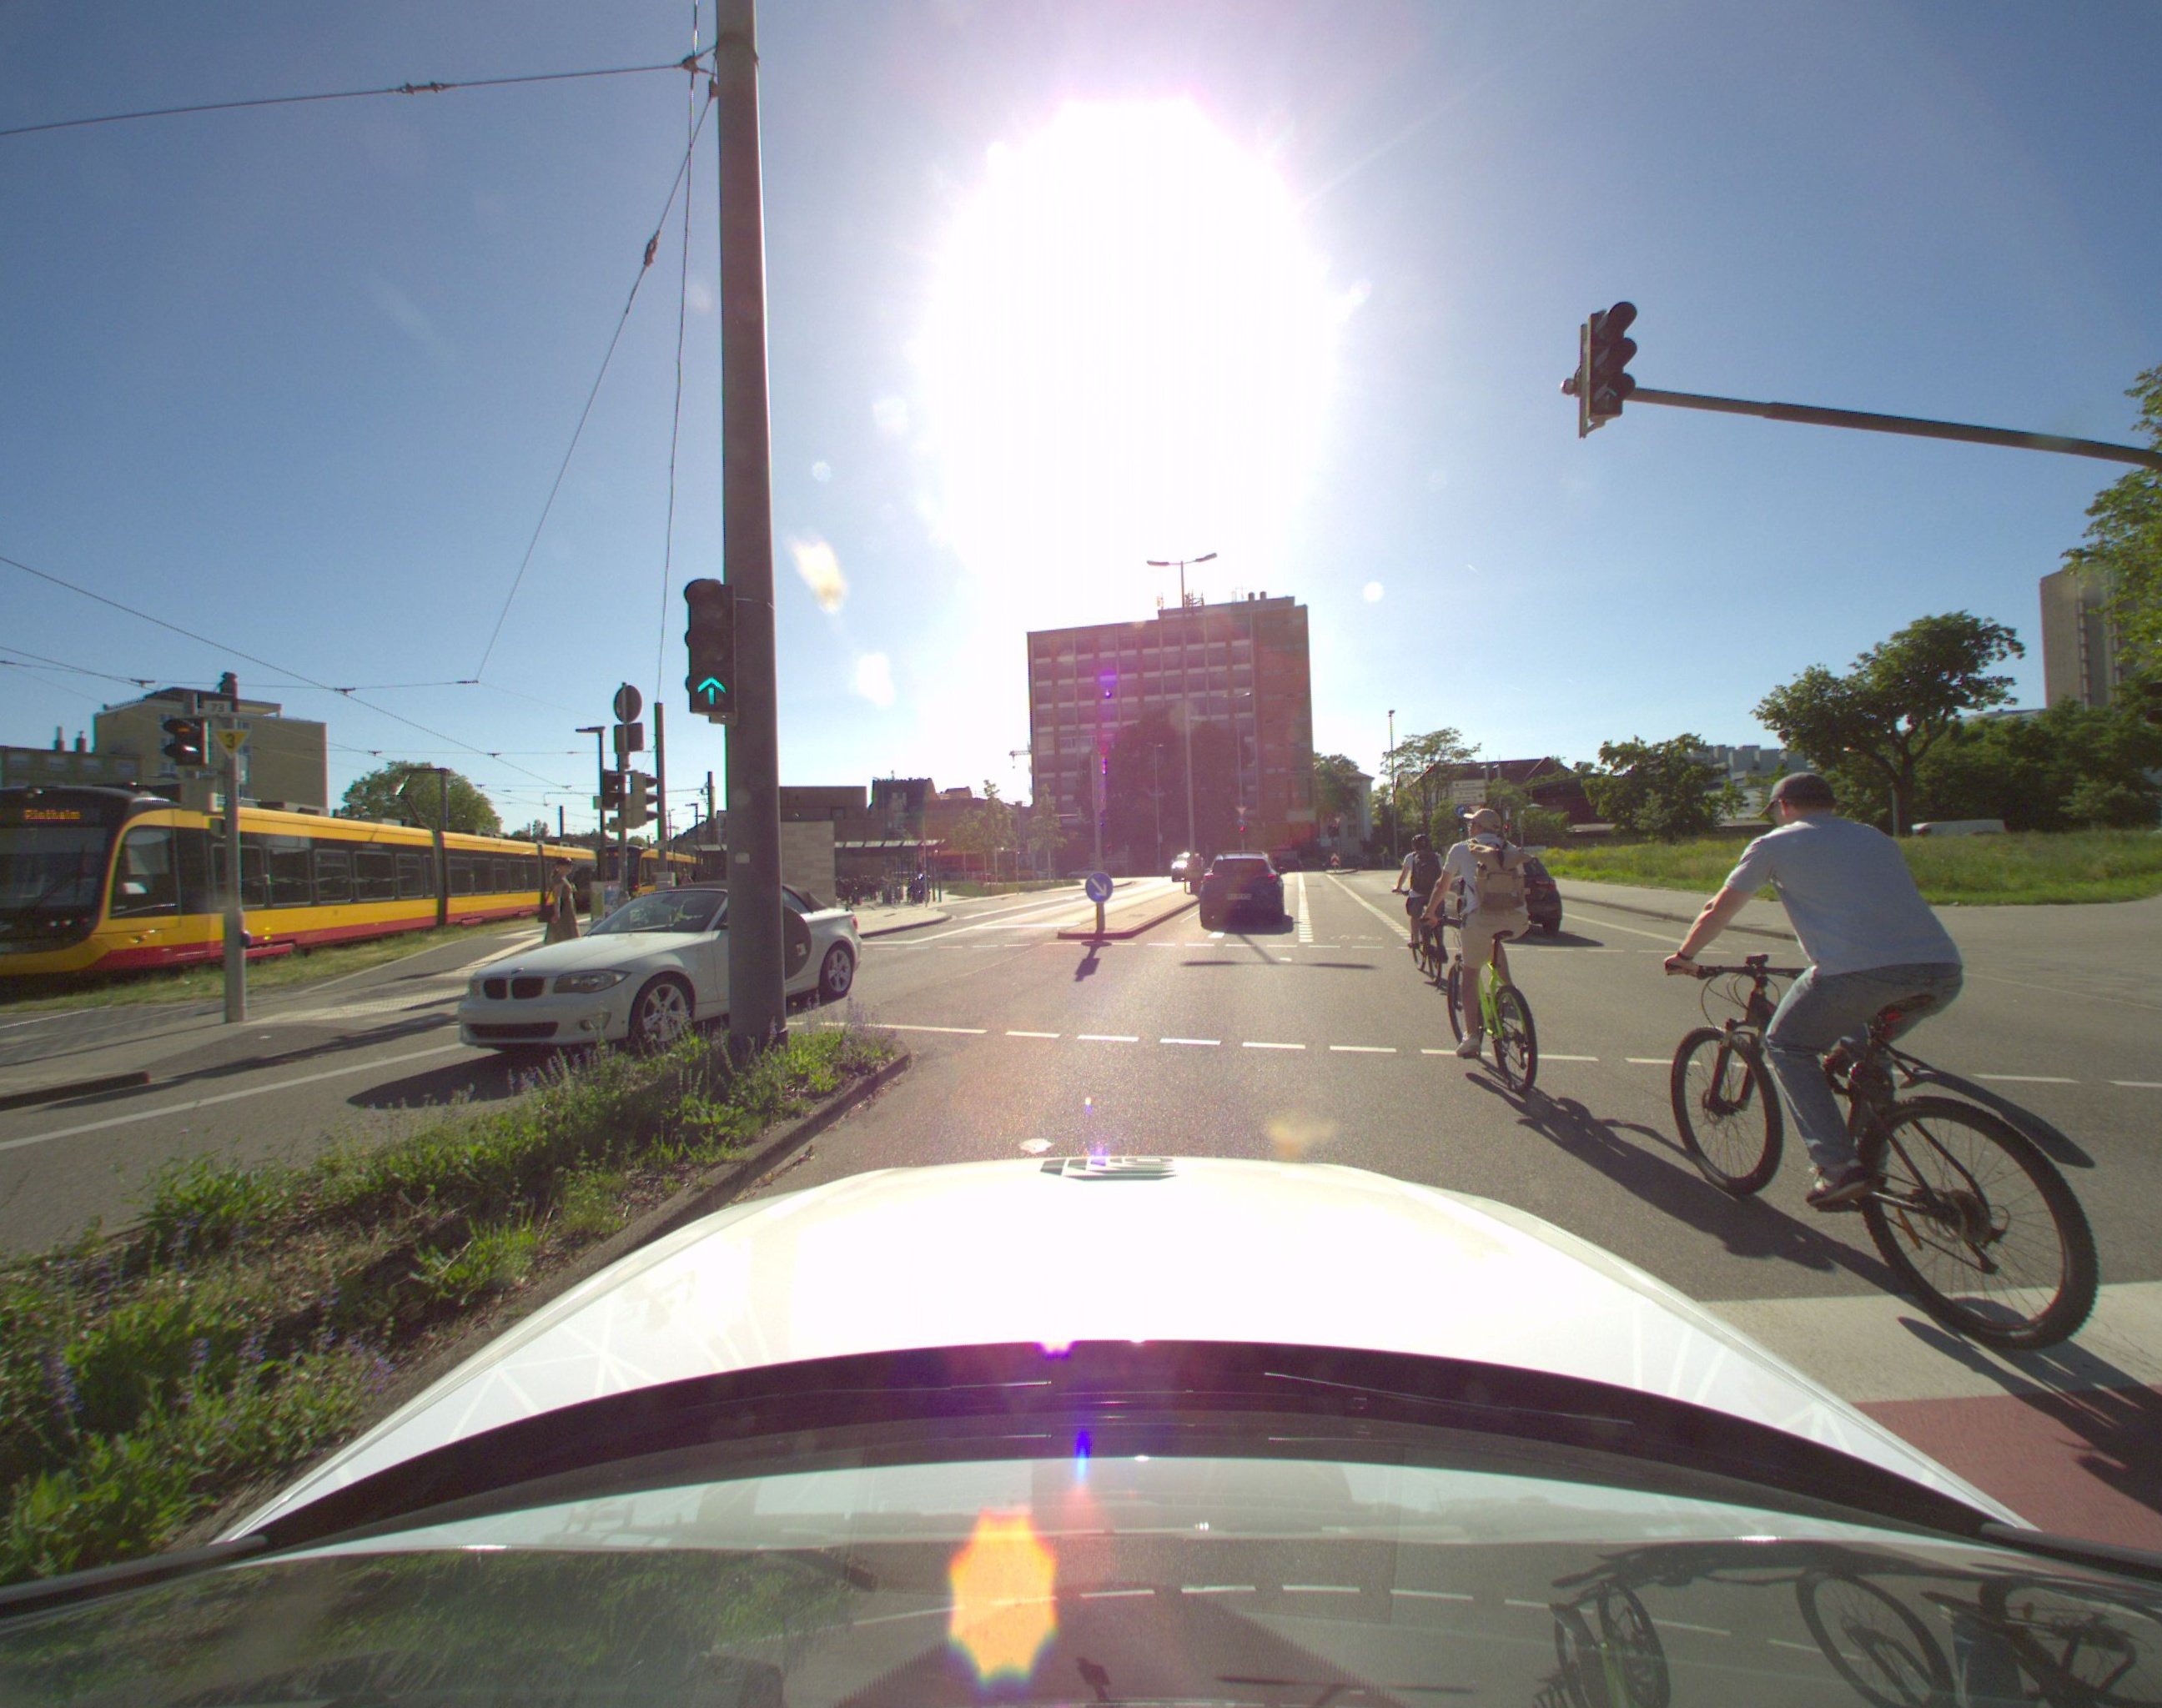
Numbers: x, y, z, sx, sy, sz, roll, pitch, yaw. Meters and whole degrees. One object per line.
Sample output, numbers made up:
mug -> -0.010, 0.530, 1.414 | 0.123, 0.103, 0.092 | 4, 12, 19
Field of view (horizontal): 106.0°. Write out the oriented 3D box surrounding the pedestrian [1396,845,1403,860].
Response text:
pedestrian -> 35.128, -0.142, 89.827 | 0.571, 1.670, 0.565 | -2, -2, 25

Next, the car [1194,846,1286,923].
car -> 3.797, 0.668, 19.034 | 1.809, 1.600, 3.673 | -1, -1, 15

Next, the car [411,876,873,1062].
car -> -4.004, 0.986, 8.339 | 1.787, 1.393, 4.108 | -4, -3, 15

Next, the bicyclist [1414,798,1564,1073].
bicyclist -> 2.818, 0.515, 5.718 | 0.659, 1.747, 1.008 | -1, 1, 10

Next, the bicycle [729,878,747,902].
bicycle -> -16.351, 1.705, 38.872 | 0.567, 1.093, 2.017 | 0, -2, -17

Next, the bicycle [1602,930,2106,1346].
bicycle -> 2.904, 0.933, 3.373 | 0.607, 1.077, 1.835 | -1, -1, 11

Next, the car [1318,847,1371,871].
car -> 23.784, 0.484, 73.459 | 4.332, 2.014, 2.011 | -2, -2, 24

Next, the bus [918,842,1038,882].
bus -> -9.876, 0.857, 77.111 | 12.284, 3.396, 2.900 | -2, -2, 33

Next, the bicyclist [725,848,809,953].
bicyclist -> -5.245, 0.760, 13.665 | 0.876, 1.644, 1.062 | -3, -1, 5

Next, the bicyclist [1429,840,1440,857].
bicyclist -> 35.176, -0.545, 80.982 | 0.851, 1.692, 0.888 | -2, -2, 18

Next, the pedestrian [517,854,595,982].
pedestrian -> -8.083, 0.944, 12.580 | 0.904, 1.850, 0.757 | -2, 1, -28

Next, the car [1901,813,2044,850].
car -> 66.722, -1.621, 61.099 | 7.098, 2.423, 2.083 | -2, -1, 17

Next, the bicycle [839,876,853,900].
bicycle -> -11.002, 1.596, 38.079 | 0.581, 1.088, 2.047 | 0, -2, -15

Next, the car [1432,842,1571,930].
car -> 8.222, 0.613, 16.264 | 1.743, 1.542, 3.673 | -1, -1, 16

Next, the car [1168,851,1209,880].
car -> 6.491, 0.656, 48.727 | 1.805, 1.568, 4.266 | -4, -1, 14

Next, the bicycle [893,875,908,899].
bicycle -> -8.669, 1.587, 39.056 | 0.581, 1.088, 2.047 | 0, -2, -15

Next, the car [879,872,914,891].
car -> -20.368, 3.040, 89.722 | 2.022, 2.014, 3.951 | 1, -3, -43

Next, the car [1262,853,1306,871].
car -> 19.813, 0.816, 79.586 | 3.859, 1.586, 1.890 | -2, -2, 25

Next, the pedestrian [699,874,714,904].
pedestrian -> -24.266, 2.256, 52.775 | 0.850, 1.883, 0.755 | 0, -2, -22

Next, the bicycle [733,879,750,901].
bicycle -> -17.272, 1.808, 41.455 | 0.567, 1.093, 2.017 | 0, -2, -17

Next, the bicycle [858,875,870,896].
bicycle -> -11.761, 1.693, 44.142 | 0.582, 1.088, 1.860 | 0, -2, -17

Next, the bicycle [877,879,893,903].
bicycle -> -8.056, 1.498, 33.371 | 0.581, 0.961, 2.047 | 0, -2, -15

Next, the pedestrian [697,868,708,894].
pedestrian -> -27.617, 1.974, 59.475 | 0.634, 1.857, 0.698 | 0, -2, -17

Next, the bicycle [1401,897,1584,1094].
bicycle -> 2.863, 0.909, 5.882 | 0.658, 1.047, 1.896 | -1, 1, 10

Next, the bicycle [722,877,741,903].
bicycle -> -15.172, 1.566, 35.378 | 0.567, 1.093, 2.017 | 0, -2, -17

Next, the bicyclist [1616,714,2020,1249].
bicyclist -> 2.819, 0.431, 3.276 | 0.744, 1.776, 1.017 | -1, -1, 11

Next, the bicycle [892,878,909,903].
bicycle -> -7.458, 1.493, 33.534 | 0.581, 0.961, 2.047 | 0, -2, -15

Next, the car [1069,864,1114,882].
car -> 1.139, 2.101, 89.976 | 4.605, 1.900, 2.012 | -2, -2, 33

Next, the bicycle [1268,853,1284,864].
bicycle -> 20.904, 0.490, 87.314 | 1.655, 1.093, 0.612 | -3, -1, 10

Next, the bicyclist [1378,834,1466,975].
bicyclist -> 4.141, 0.590, 9.962 | 0.717, 1.626, 1.057 | -1, -1, 7

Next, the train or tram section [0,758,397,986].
train or tram section -> -18.619, 0.393, 17.349 | 2.828, 3.508, 10.404 | -2, -1, -21

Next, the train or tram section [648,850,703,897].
train or tram section -> -33.195, 1.584, 66.954 | 2.881, 3.508, 10.469 | -1, -1, -20

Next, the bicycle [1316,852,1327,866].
bicycle -> 27.484, 0.583, 93.001 | 0.874, 1.541, 2.825 | -2, -2, 22

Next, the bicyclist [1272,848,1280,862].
bicyclist -> 20.874, 0.145, 87.299 | 0.811, 1.444, 0.622 | -2, -1, 10

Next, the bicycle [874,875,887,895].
bicycle -> -11.377, 1.753, 46.159 | 0.582, 1.088, 1.860 | 0, -2, -17

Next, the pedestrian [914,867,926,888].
pedestrian -> -13.896, 2.036, 70.431 | 0.647, 1.741, 0.793 | -2, -3, 31

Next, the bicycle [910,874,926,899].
bicycle -> -7.178, 1.426, 35.861 | 0.581, 1.052, 1.962 | 0, -2, -15

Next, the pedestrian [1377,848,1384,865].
pedestrian -> 29.563, 0.282, 80.378 | 0.551, 1.670, 0.479 | -2, -3, 30

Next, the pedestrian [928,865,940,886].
pedestrian -> -12.443, 1.816, 68.766 | 0.618, 1.741, 0.793 | -2, -3, 31

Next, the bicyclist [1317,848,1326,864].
bicyclist -> 27.482, 0.277, 93.005 | 0.874, 1.797, 1.167 | -2, -2, 22

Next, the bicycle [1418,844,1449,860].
bicycle -> 35.062, -0.193, 81.032 | 2.779, 1.541, 0.888 | -2, -2, 18

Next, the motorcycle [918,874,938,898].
motorcycle -> -7.724, 1.634, 41.029 | 0.553, 1.177, 1.906 | 0, -2, -24

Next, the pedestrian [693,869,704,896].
pedestrian -> -25.814, 1.924, 54.966 | 0.606, 1.857, 0.789 | 0, -2, -18

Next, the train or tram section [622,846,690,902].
train or tram section -> -29.618, 1.402, 57.162 | 2.881, 3.508, 10.469 | -1, -1, -20

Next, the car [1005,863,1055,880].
car -> -4.871, 1.652, 77.783 | 4.354, 1.522, 1.982 | -2, -2, 32

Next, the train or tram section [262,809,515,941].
train or tram section -> -22.173, 0.646, 27.082 | 2.826, 3.508, 10.539 | -1, -1, -20

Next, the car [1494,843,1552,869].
car -> 38.423, 0.201, 70.925 | 4.308, 2.014, 2.011 | -2, -2, 24

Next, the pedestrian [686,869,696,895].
pedestrian -> -28.066, 2.004, 58.624 | 0.635, 1.857, 0.697 | 0, -2, -26

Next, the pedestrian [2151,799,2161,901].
pedestrian -> 20.123, -0.098, 14.765 | 1.054, 1.832, 0.752 | -2, -1, -35

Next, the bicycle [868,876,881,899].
bicycle -> -9.861, 1.601, 38.836 | 0.581, 1.088, 2.047 | 0, -2, -15

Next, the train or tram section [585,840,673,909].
train or tram section -> -25.984, 1.175, 47.346 | 2.881, 3.508, 10.469 | -1, -1, -20

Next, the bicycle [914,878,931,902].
bicycle -> -6.605, 1.489, 33.882 | 0.581, 0.961, 2.047 | 0, -2, -15

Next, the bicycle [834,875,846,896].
bicycle -> -12.944, 1.699, 43.703 | 0.582, 1.088, 1.860 | 0, -2, -17

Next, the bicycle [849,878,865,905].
bicycle -> -9.026, 1.499, 32.874 | 0.581, 1.058, 1.807 | 0, -2, -15

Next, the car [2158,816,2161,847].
car -> 80.194, -1.733, 57.229 | 5.046, 2.225, 2.084 | -2, -1, 20

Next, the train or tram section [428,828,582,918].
train or tram section -> -25.751, 0.835, 37.182 | 2.826, 3.508, 11.135 | -1, -1, -20

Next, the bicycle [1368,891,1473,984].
bicycle -> 4.163, 0.987, 10.129 | 0.718, 0.960, 1.888 | -2, -1, 8

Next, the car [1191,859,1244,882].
car -> 13.075, 1.603, 78.088 | 4.608, 2.014, 2.011 | -2, -2, 25
